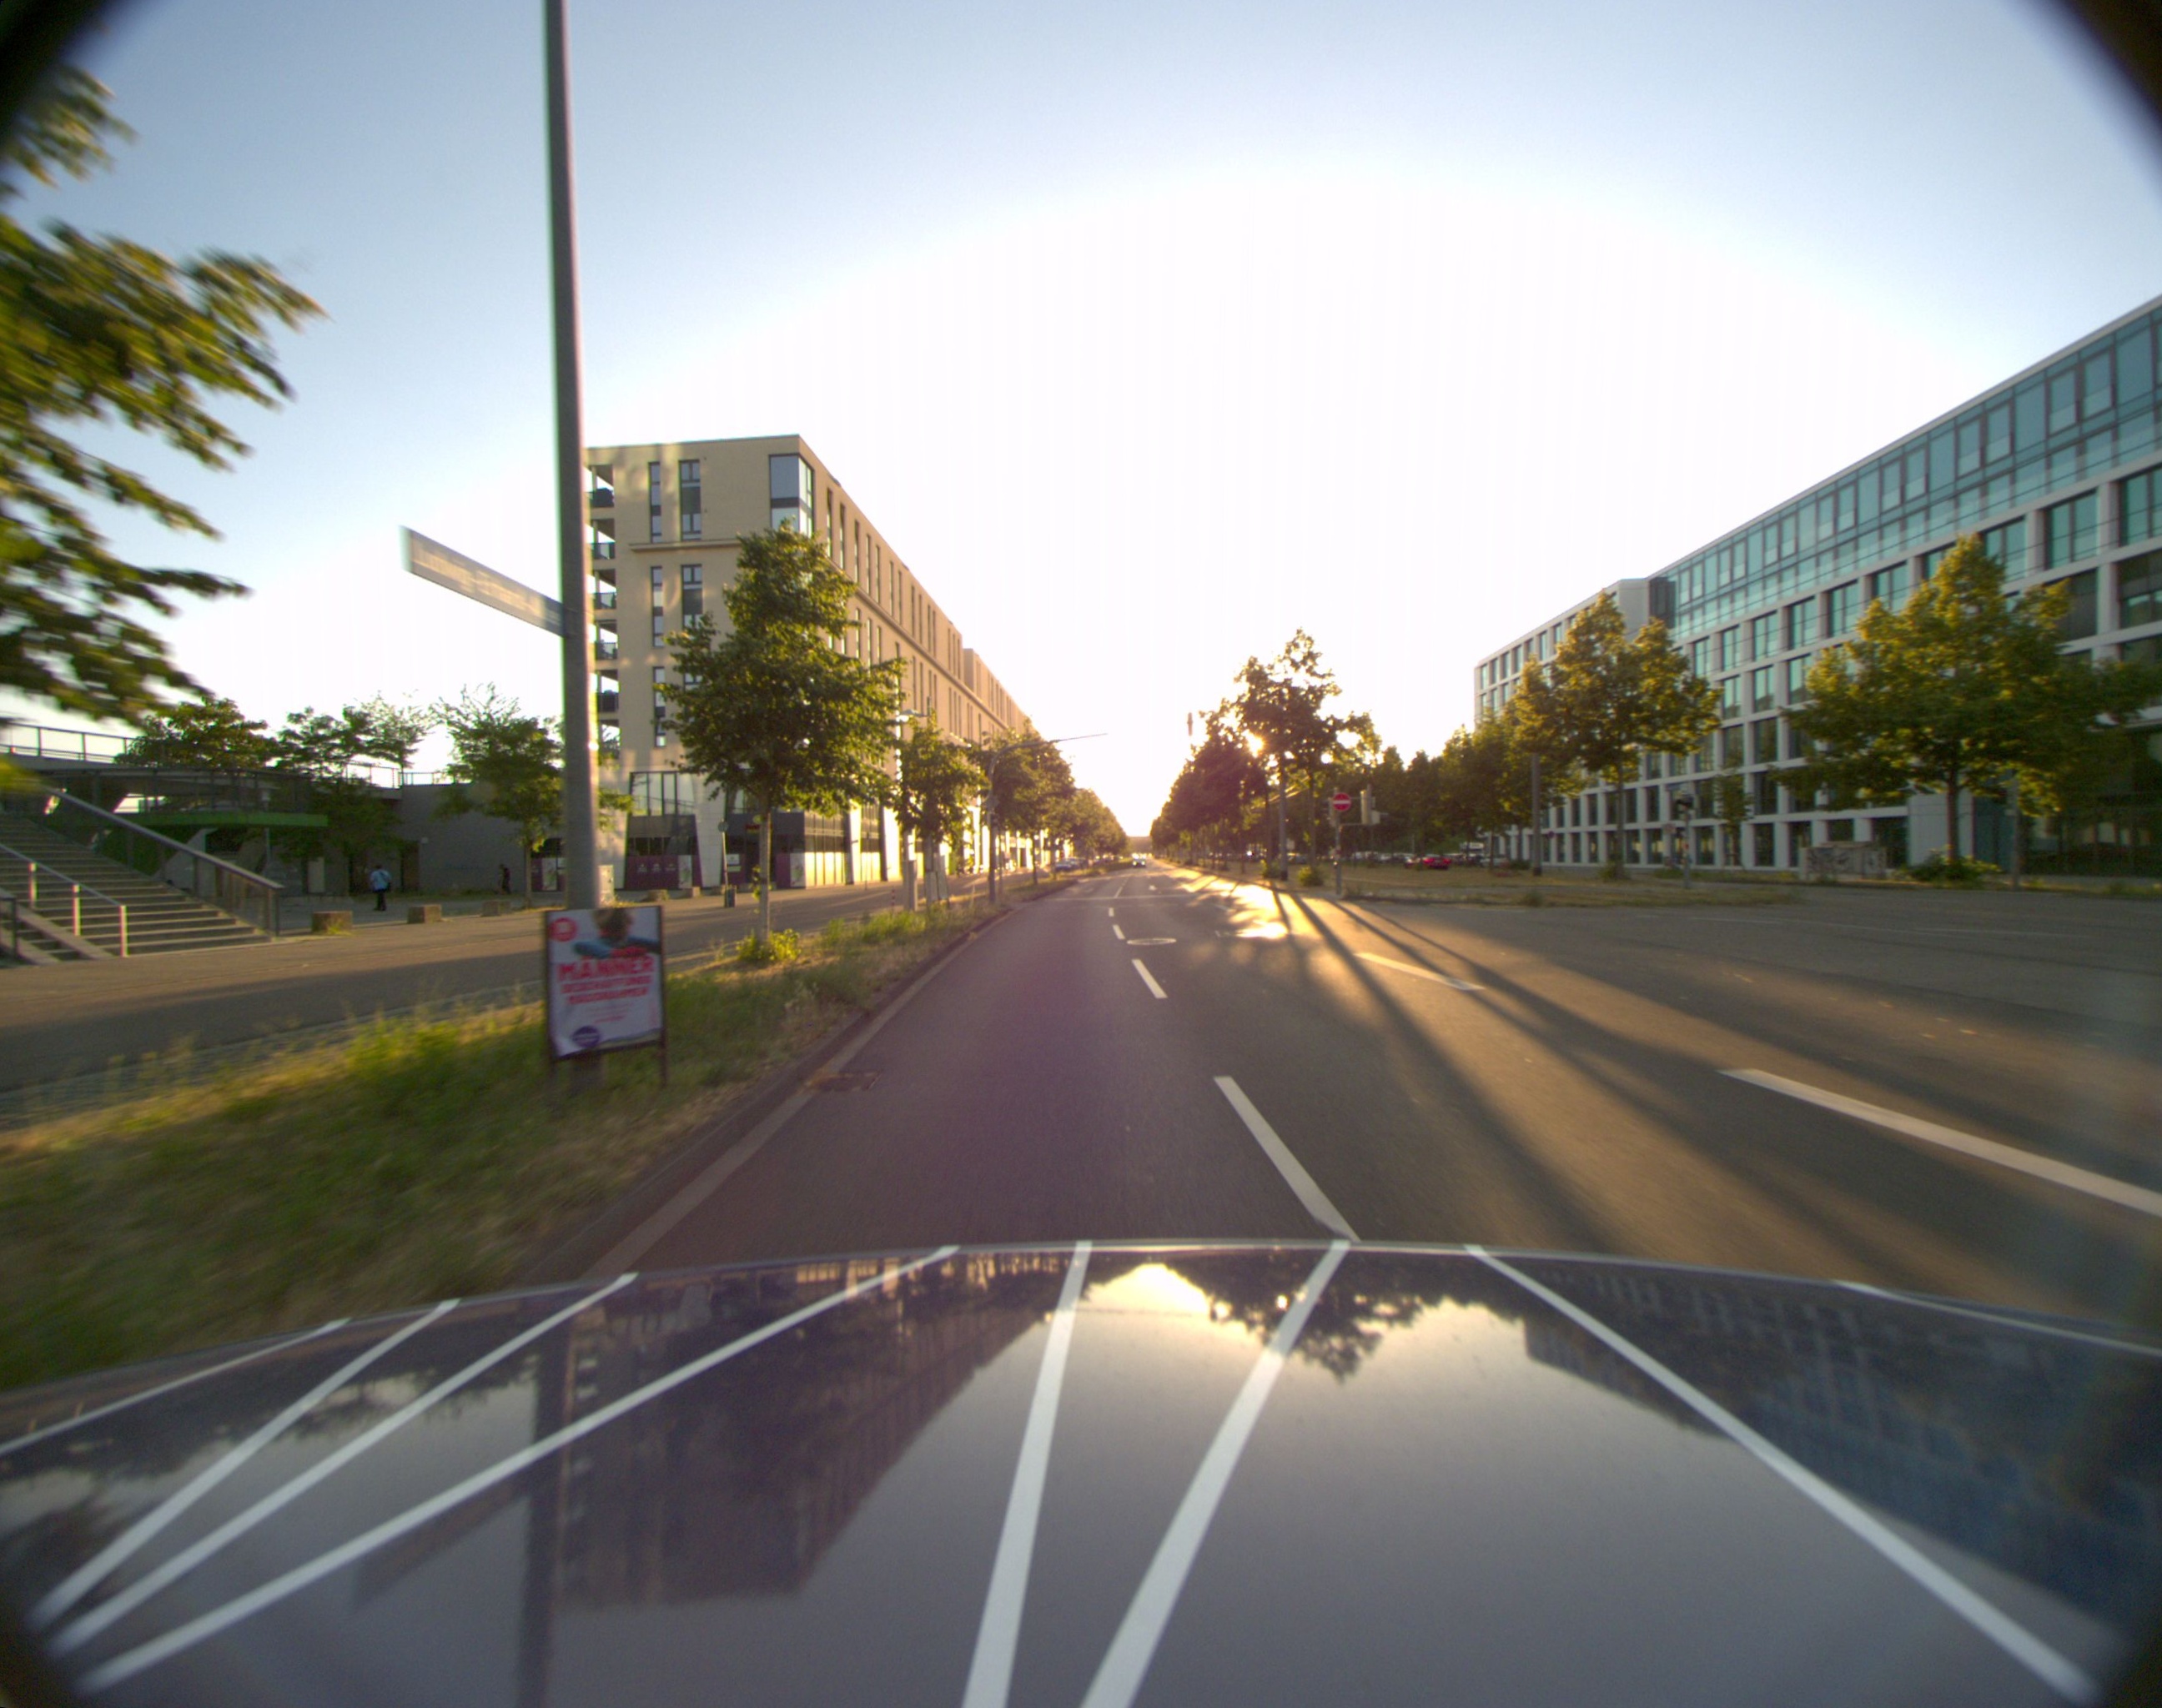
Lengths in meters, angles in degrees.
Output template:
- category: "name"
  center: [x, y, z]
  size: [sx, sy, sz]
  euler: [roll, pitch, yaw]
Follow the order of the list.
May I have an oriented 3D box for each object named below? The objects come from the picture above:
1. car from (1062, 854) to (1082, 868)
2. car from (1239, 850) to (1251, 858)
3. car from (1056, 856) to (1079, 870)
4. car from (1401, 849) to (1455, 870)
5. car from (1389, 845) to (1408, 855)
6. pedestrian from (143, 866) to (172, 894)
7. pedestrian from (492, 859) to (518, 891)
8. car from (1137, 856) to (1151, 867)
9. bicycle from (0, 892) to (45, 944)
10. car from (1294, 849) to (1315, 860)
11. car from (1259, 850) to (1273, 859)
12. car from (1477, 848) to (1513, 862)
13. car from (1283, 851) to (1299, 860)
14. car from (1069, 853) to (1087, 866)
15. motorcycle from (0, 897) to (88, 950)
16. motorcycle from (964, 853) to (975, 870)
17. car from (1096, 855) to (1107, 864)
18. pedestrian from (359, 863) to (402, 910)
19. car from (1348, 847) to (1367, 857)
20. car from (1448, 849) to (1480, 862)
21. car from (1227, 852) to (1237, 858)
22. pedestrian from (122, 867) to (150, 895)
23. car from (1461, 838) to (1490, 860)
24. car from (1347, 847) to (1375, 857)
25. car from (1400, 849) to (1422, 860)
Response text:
- category: "car"
  center: [-1.008, 0.798, 90.306]
  size: [1.998, 1.594, 4.001]
  euler: [-1, 0, 4]
- category: "car"
  center: [33.048, -0.011, 153.355]
  size: [1.649, 1.395, 4.001]
  euler: [-1, 0, 3]
- category: "car"
  center: [-1.330, 0.917, 78.938]
  size: [1.998, 1.455, 4.001]
  euler: [-1, 0, 4]
- category: "car"
  center: [25.426, 0.385, 55.922]
  size: [1.998, 1.426, 4.900]
  euler: [-1, 0, 4]
- category: "car"
  center: [55.335, -0.639, 132.483]
  size: [1.771, 1.696, 4.001]
  euler: [-1, 0, 4]
- category: "pedestrian"
  center: [-54.285, 1.514, 44.681]
  size: [0.716, 1.585, 0.798]
  euler: [-1, 1, 10]
- category: "pedestrian"
  center: [-30.752, 1.099, 40.554]
  size: [0.766, 1.673, 0.765]
  euler: [-1, 1, 6]
- category: "car"
  center: [9.199, 1.067, 111.481]
  size: [1.998, 1.474, 4.336]
  euler: [-1, 0, 4]
- category: "bicycle"
  center: [-26.548, 1.572, 17.861]
  size: [0.731, 1.229, 2.452]
  euler: [-1, 0, 15]
- category: "car"
  center: [28.436, 0.038, 96.827]
  size: [1.649, 1.395, 4.001]
  euler: [-1, 0, 3]
- category: "car"
  center: [31.233, 0.058, 128.512]
  size: [1.649, 1.395, 4.001]
  euler: [-1, 0, 3]
- category: "car"
  center: [43.177, 0.143, 79.387]
  size: [1.763, 1.395, 4.001]
  euler: [-1, 0, 3]
- category: "car"
  center: [33.348, 0.184, 120.723]
  size: [1.649, 1.395, 4.001]
  euler: [-1, 0, 3]
- category: "car"
  center: [-0.314, 0.744, 97.213]
  size: [1.998, 1.594, 4.001]
  euler: [-1, 0, 4]
- category: "motorcycle"
  center: [-23.430, 1.525, 16.171]
  size: [0.731, 1.037, 2.694]
  euler: [-1, 0, 15]
- category: "motorcycle"
  center: [-11.562, 0.782, 78.641]
  size: [0.690, 1.689, 2.124]
  euler: [-1, 0, 4]
- category: "car"
  center: [3.949, 1.042, 147.967]
  size: [1.998, 1.594, 4.001]
  euler: [-1, 0, 4]
- category: "pedestrian"
  center: [-27.939, 1.286, 30.315]
  size: [0.898, 1.833, 0.838]
  euler: [-1, 1, -2]
- category: "car"
  center: [49.303, -0.323, 135.629]
  size: [1.998, 1.731, 4.612]
  euler: [-1, 0, 4]
- category: "car"
  center: [44.186, 0.191, 87.701]
  size: [1.763, 1.395, 4.001]
  euler: [-1, 0, 3]
- category: "car"
  center: [34.689, 0.217, 174.571]
  size: [1.649, 1.395, 4.001]
  euler: [-1, 0, 3]
- category: "pedestrian"
  center: [-55.480, 1.571, 44.617]
  size: [0.718, 1.585, 0.796]
  euler: [-1, 1, -20]
- category: "car"
  center: [55.823, -0.682, 107.565]
  size: [2.162, 2.973, 5.726]
  euler: [-1, 0, 12]
- category: "car"
  center: [48.395, -0.321, 131.539]
  size: [4.081, 1.731, 2.000]
  euler: [-1, 0, 2]
- category: "car"
  center: [48.341, 0.015, 111.278]
  size: [1.997, 1.583, 4.338]
  euler: [-1, 0, 11]
